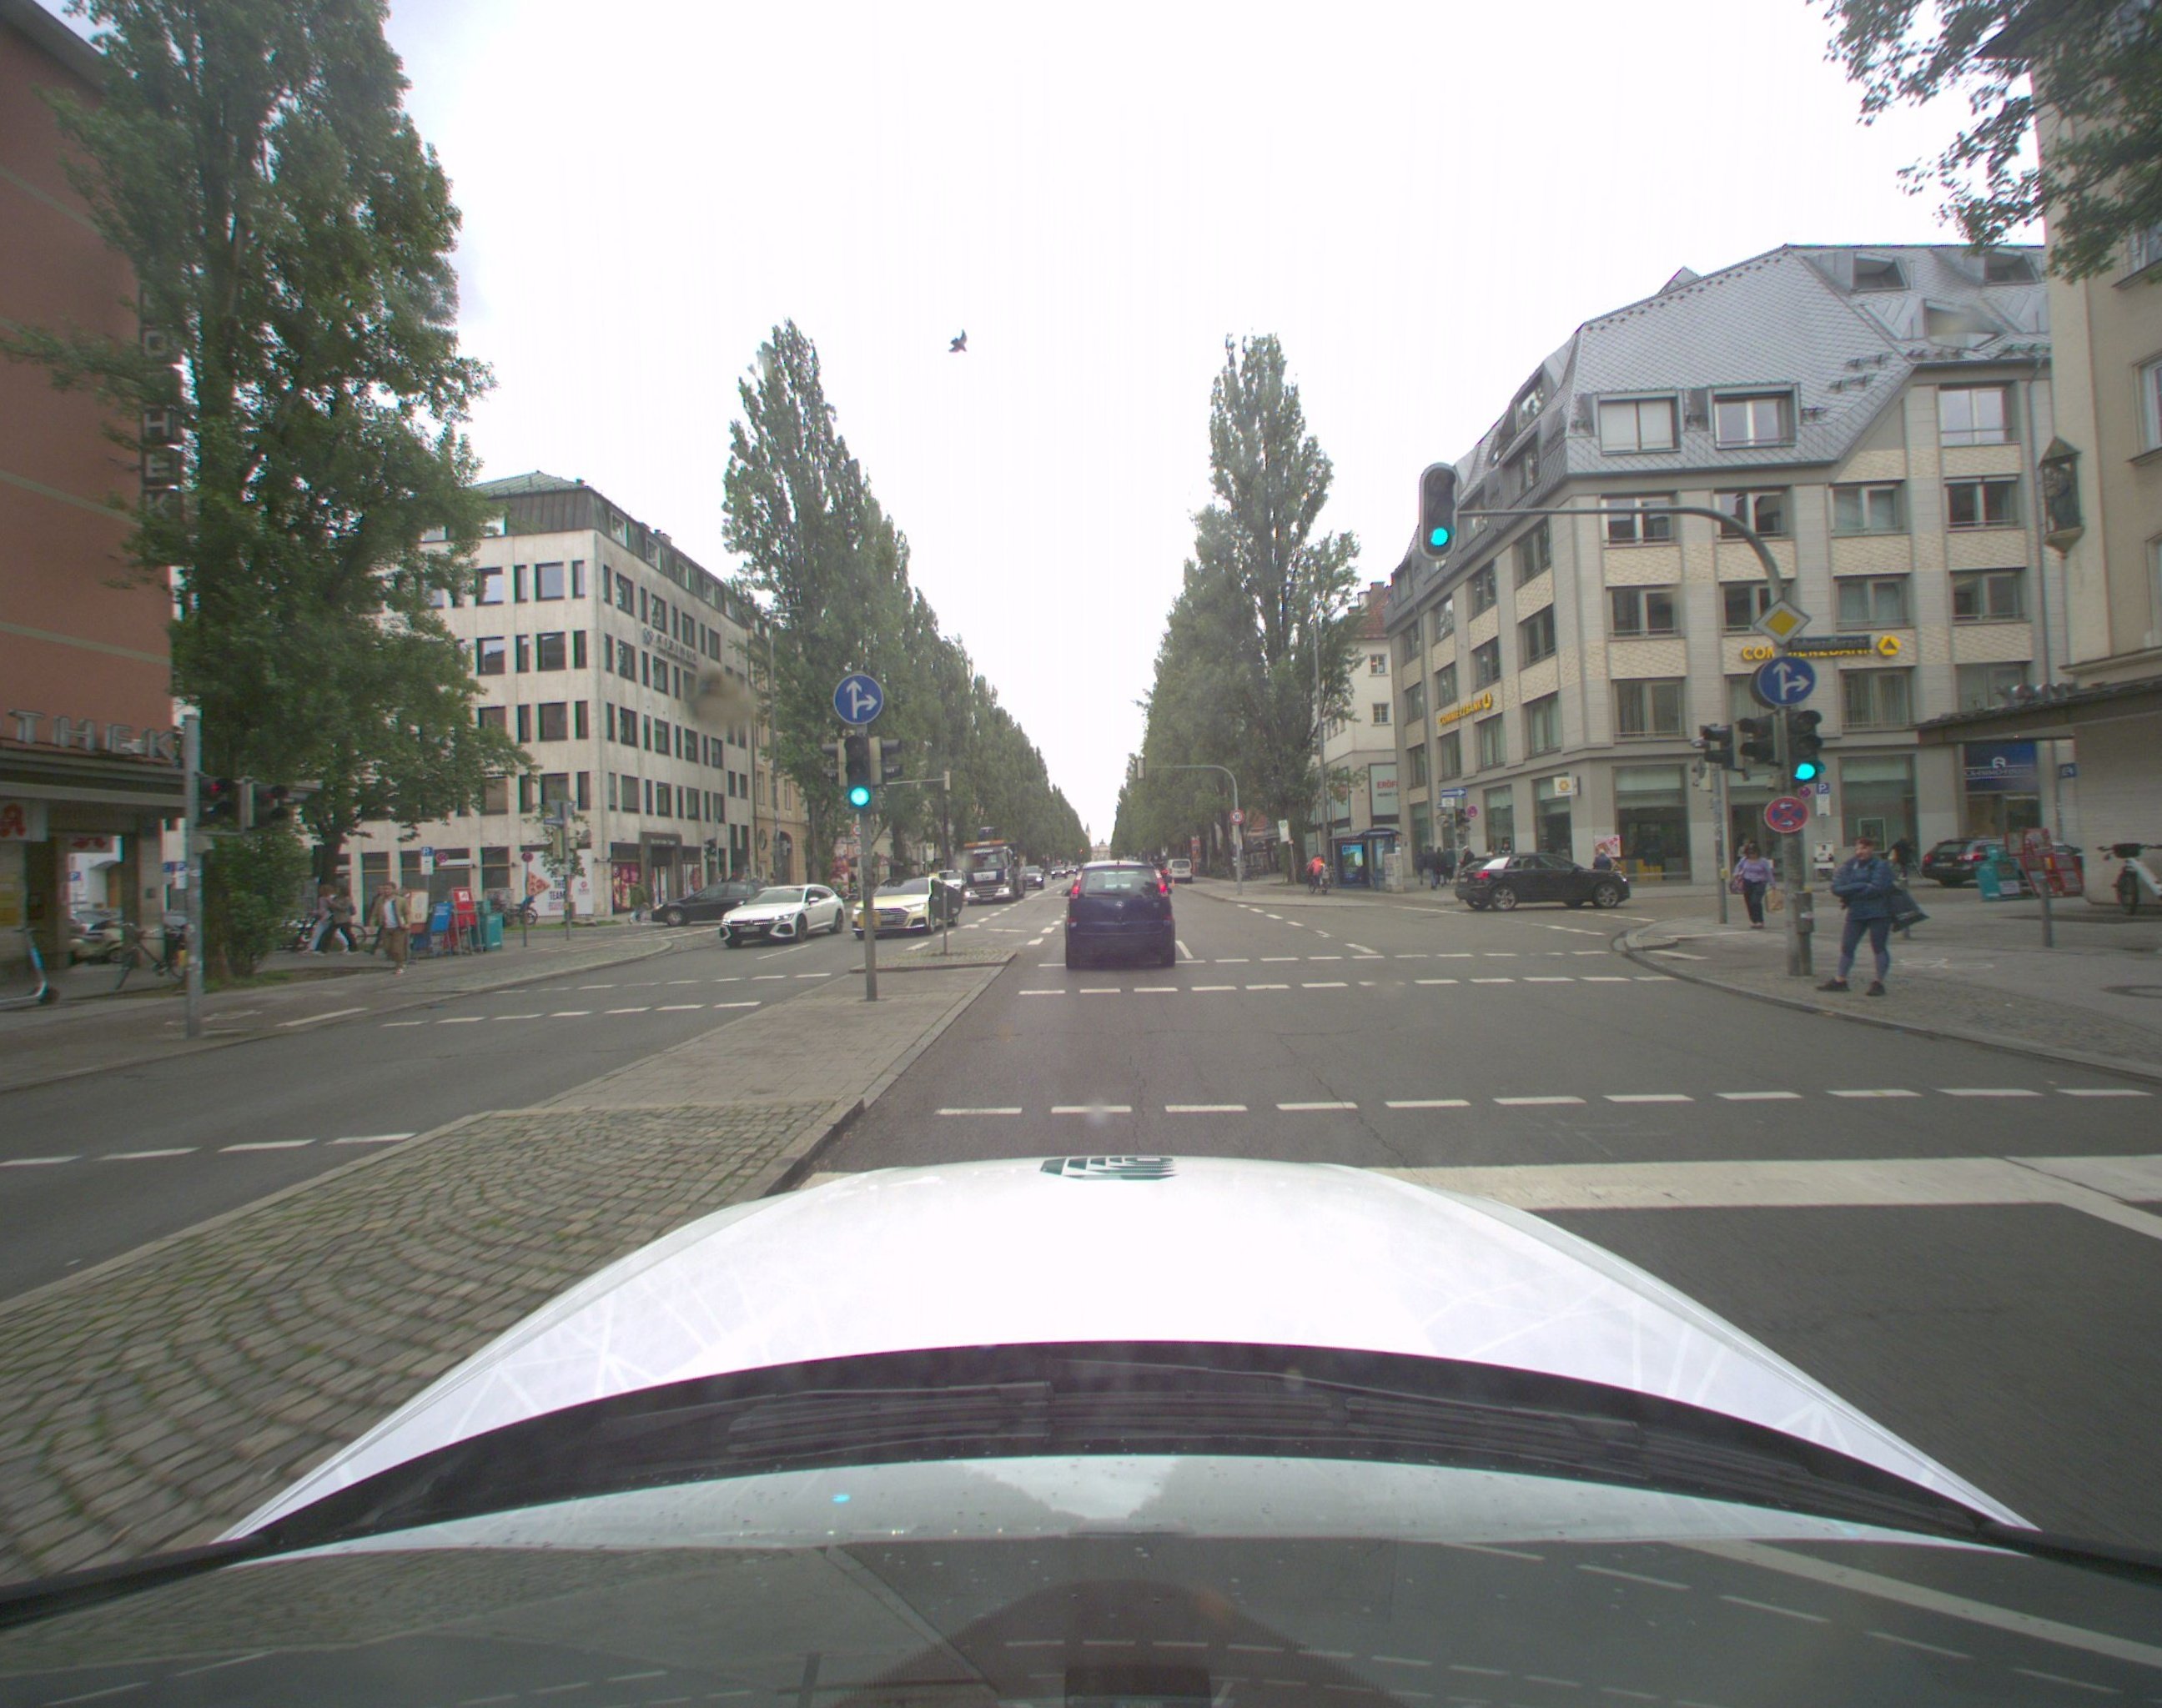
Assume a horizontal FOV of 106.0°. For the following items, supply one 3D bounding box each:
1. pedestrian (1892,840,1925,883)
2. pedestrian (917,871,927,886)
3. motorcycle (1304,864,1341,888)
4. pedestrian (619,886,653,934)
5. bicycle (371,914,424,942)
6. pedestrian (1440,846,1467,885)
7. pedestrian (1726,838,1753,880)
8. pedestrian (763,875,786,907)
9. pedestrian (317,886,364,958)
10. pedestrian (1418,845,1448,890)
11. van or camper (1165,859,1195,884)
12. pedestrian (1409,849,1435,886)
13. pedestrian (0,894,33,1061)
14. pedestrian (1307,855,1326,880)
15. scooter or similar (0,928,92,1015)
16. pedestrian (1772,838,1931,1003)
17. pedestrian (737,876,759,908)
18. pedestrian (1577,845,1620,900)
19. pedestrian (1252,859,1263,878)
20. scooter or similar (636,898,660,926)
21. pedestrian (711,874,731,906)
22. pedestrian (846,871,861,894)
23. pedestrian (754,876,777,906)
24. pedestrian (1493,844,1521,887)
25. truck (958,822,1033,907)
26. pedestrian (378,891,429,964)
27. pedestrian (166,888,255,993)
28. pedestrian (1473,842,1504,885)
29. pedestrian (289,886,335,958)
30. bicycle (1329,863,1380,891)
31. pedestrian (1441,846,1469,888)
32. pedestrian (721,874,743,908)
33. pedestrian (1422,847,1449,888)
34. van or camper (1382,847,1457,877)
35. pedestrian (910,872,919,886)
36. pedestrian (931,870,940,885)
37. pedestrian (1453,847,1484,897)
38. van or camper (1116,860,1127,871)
[{"bbox_3d":[27.866,0.257,27.441,0.442,1.405,0.584,-2,-1,-2],"label":"pedestrian"},{"bbox_3d":[-16.866,2.628,86.422,0.766,1.537,0.805,-2,-1,1],"label":"pedestrian"},{"bbox_3d":[12.252,1.099,41.364,1.717,1.140,0.510,-2,-1,2],"label":"motorcycle"},{"bbox_3d":[-16.580,2.079,30.351,0.724,1.740,0.942,-1,-2,1],"label":"pedestrian"},{"bbox_3d":[-27.315,2.955,32.557,2.043,1.048,0.418,-2,-1,12],"label":"bicycle"},{"bbox_3d":[16.988,0.532,37.119,0.747,1.718,0.963,-2,-1,3],"label":"pedestrian"},{"bbox_3d":[24.008,0.182,29.682,0.442,1.531,0.584,-2,-1,-2],"label":"pedestrian"},{"bbox_3d":[-16.073,1.939,42.767,0.775,1.618,0.935,-2,-1,1],"label":"pedestrian"},{"bbox_3d":[-17.799,1.627,19.584,0.627,1.689,0.519,-1,-2,2],"label":"pedestrian"},{"bbox_3d":[14.590,0.553,33.792,0.815,1.818,0.890,-2,-1,0],"label":"pedestrian"},{"bbox_3d":[7.997,1.438,66.170,1.862,1.883,4.904,-2,-1,1],"label":"van or camper"},{"bbox_3d":[15.827,0.642,37.848,0.747,1.677,0.963,-3,-1,3],"label":"pedestrian"},{"bbox_3d":[-12.125,1.338,8.660,0.729,1.796,0.997,-1,-2,19],"label":"pedestrian"},{"bbox_3d":[16.495,0.945,57.077,0.991,1.674,0.817,-1,-1,-35],"label":"pedestrian"},{"bbox_3d":[-15.842,1.751,12.181,0.406,1.173,1.402,-2,-1,-3],"label":"scooter or similar"},{"bbox_3d":[8.016,0.663,8.514,0.763,1.610,0.863,-2,-1,-3],"label":"pedestrian"},{"bbox_3d":[-17.989,2.049,43.977,0.729,1.682,0.978,-1,-1,1],"label":"pedestrian"},{"bbox_3d":[16.052,0.583,25.267,0.747,1.636,0.734,-4,-3,3],"label":"pedestrian"},{"bbox_3d":[17.888,1.493,82.591,0.823,1.841,1.100,-2,-1,4],"label":"pedestrian"},{"bbox_3d":[-17.429,2.334,32.784,0.812,1.093,0.274,-1,-2,-3],"label":"scooter or similar"},{"bbox_3d":[-20.557,2.072,46.525,0.696,1.787,0.821,-2,-1,2],"label":"pedestrian"},{"bbox_3d":[-18.013,2.257,64.479,0.840,1.744,0.955,-1,-2,2],"label":"pedestrian"},{"bbox_3d":[-16.840,1.962,43.497,0.748,1.567,0.989,-2,-1,1],"label":"pedestrian"},{"bbox_3d":[17.868,0.499,34.134,0.747,1.758,0.711,-2,-1,2],"label":"pedestrian"},{"bbox_3d":[-4.037,0.517,40.230,2.454,3.670,8.441,-2,-1,1],"label":"truck"},{"bbox_3d":[-15.287,1.652,18.387,0.654,1.583,0.548,-2,-1,2],"label":"pedestrian"},{"bbox_3d":[-15.587,1.528,14.605,0.721,1.771,0.778,-2,-1,2],"label":"pedestrian"},{"bbox_3d":[17.041,0.394,34.076,0.747,1.758,1.018,-2,-1,3],"label":"pedestrian"},{"bbox_3d":[-18.494,1.628,19.596,0.584,1.691,0.514,-2,-1,1],"label":"pedestrian"},{"bbox_3d":[12.914,1.082,38.469,2.218,1.252,0.480,-3,-1,25],"label":"bicycle"},{"bbox_3d":[16.361,0.582,35.664,0.747,1.758,0.859,-2,-3,3],"label":"pedestrian"},{"bbox_3d":[-18.812,1.970,43.916,0.797,1.787,0.912,-1,-1,1],"label":"pedestrian"},{"bbox_3d":[15.549,0.596,35.714,0.747,1.758,0.859,-2,-3,3],"label":"pedestrian"},{"bbox_3d":[21.895,0.552,52.856,4.085,1.867,1.900,-1,-1,5],"label":"van or camper"},{"bbox_3d":[-17.683,2.647,86.528,0.766,1.537,0.805,-2,-1,1],"label":"pedestrian"},{"bbox_3d":[-15.849,2.555,88.811,0.731,1.673,0.953,-2,-1,1],"label":"pedestrian"},{"bbox_3d":[13.987,0.639,29.425,0.705,1.758,0.753,-2,-1,3],"label":"pedestrian"},{"bbox_3d":[9.974,2.927,202.717,2.467,2.581,5.846,-3,-1,2],"label":"van or camper"}]
